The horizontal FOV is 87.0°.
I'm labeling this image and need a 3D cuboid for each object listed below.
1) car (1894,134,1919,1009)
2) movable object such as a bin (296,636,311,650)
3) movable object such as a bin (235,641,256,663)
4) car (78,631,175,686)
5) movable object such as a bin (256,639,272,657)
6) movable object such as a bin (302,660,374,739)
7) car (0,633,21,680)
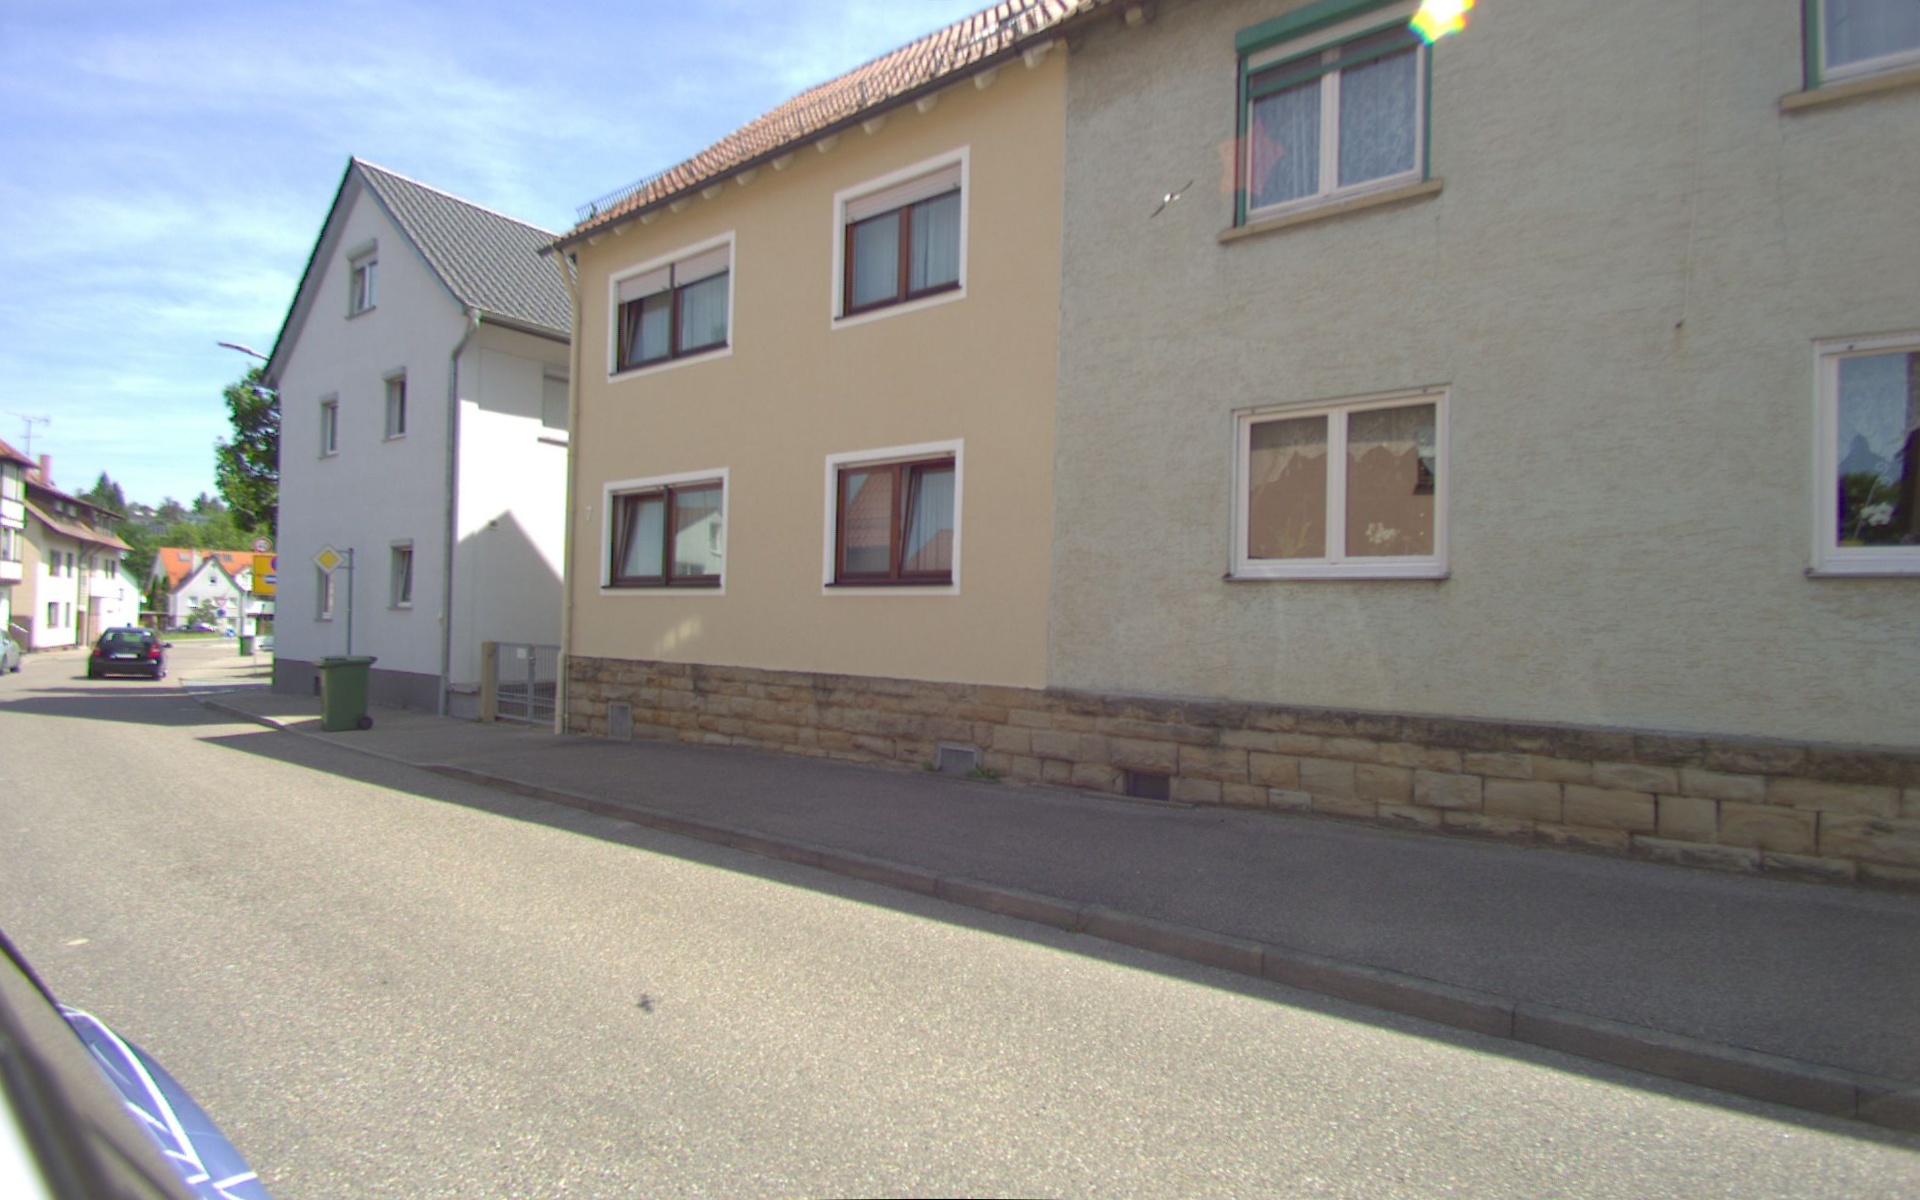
[{"bbox_3d":[4.218,0.159,0.149,5.822,2.582,2.092,-2,-3,40],"label":"car"},{"bbox_3d":[-49.435,3.245,76.186,0.797,1.053,0.829,0,-2,-21],"label":"movable object such as a bin"},{"bbox_3d":[-36.488,2.651,51.662,0.814,1.085,0.820,1,-2,-31],"label":"movable object such as a bin"},{"bbox_3d":[-25.689,1.789,31.319,1.775,1.567,4.082,3,-3,-32],"label":"car"},{"bbox_3d":[-42.048,2.907,61.136,0.780,1.065,0.652,2,-3,-35],"label":"movable object such as a bin"},{"bbox_3d":[-8.996,1.416,14.642,0.745,1.068,0.680,2,-3,-44],"label":"movable object such as a bin"},{"bbox_3d":[-30.899,1.772,31.475,1.761,1.453,4.348,1,-2,-34],"label":"car"}]
